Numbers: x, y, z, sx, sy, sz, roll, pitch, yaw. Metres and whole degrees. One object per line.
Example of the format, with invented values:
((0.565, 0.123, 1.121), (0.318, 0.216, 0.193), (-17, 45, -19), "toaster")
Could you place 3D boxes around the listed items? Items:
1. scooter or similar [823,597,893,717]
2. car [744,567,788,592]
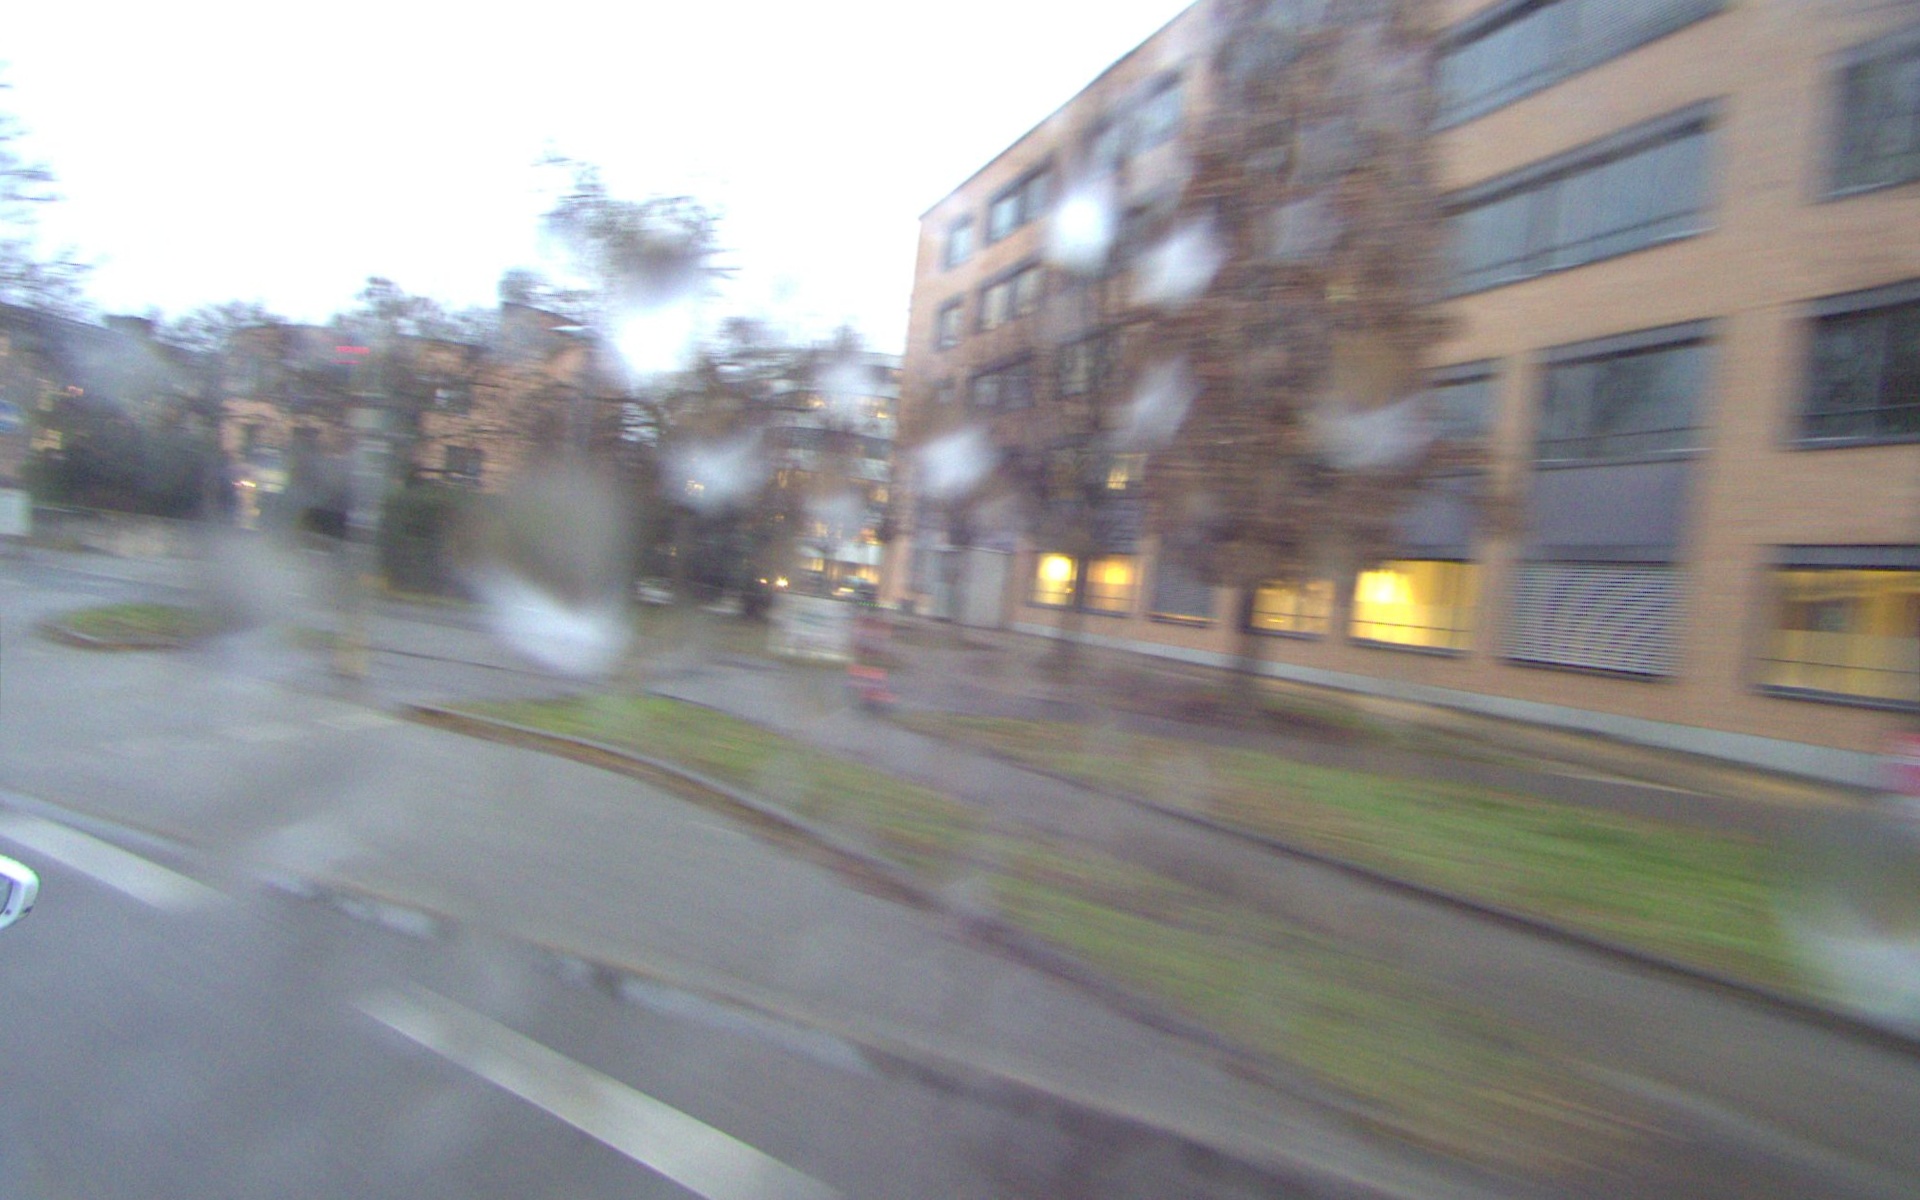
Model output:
((-1.144, 0.618, 11.435), (0.478, 1.247, 1.145), (7, 1, 4), "scooter or similar")
((-11.620, -1.230, 60.091), (1.651, 1.196, 3.685), (6, 1, -24), "car")
